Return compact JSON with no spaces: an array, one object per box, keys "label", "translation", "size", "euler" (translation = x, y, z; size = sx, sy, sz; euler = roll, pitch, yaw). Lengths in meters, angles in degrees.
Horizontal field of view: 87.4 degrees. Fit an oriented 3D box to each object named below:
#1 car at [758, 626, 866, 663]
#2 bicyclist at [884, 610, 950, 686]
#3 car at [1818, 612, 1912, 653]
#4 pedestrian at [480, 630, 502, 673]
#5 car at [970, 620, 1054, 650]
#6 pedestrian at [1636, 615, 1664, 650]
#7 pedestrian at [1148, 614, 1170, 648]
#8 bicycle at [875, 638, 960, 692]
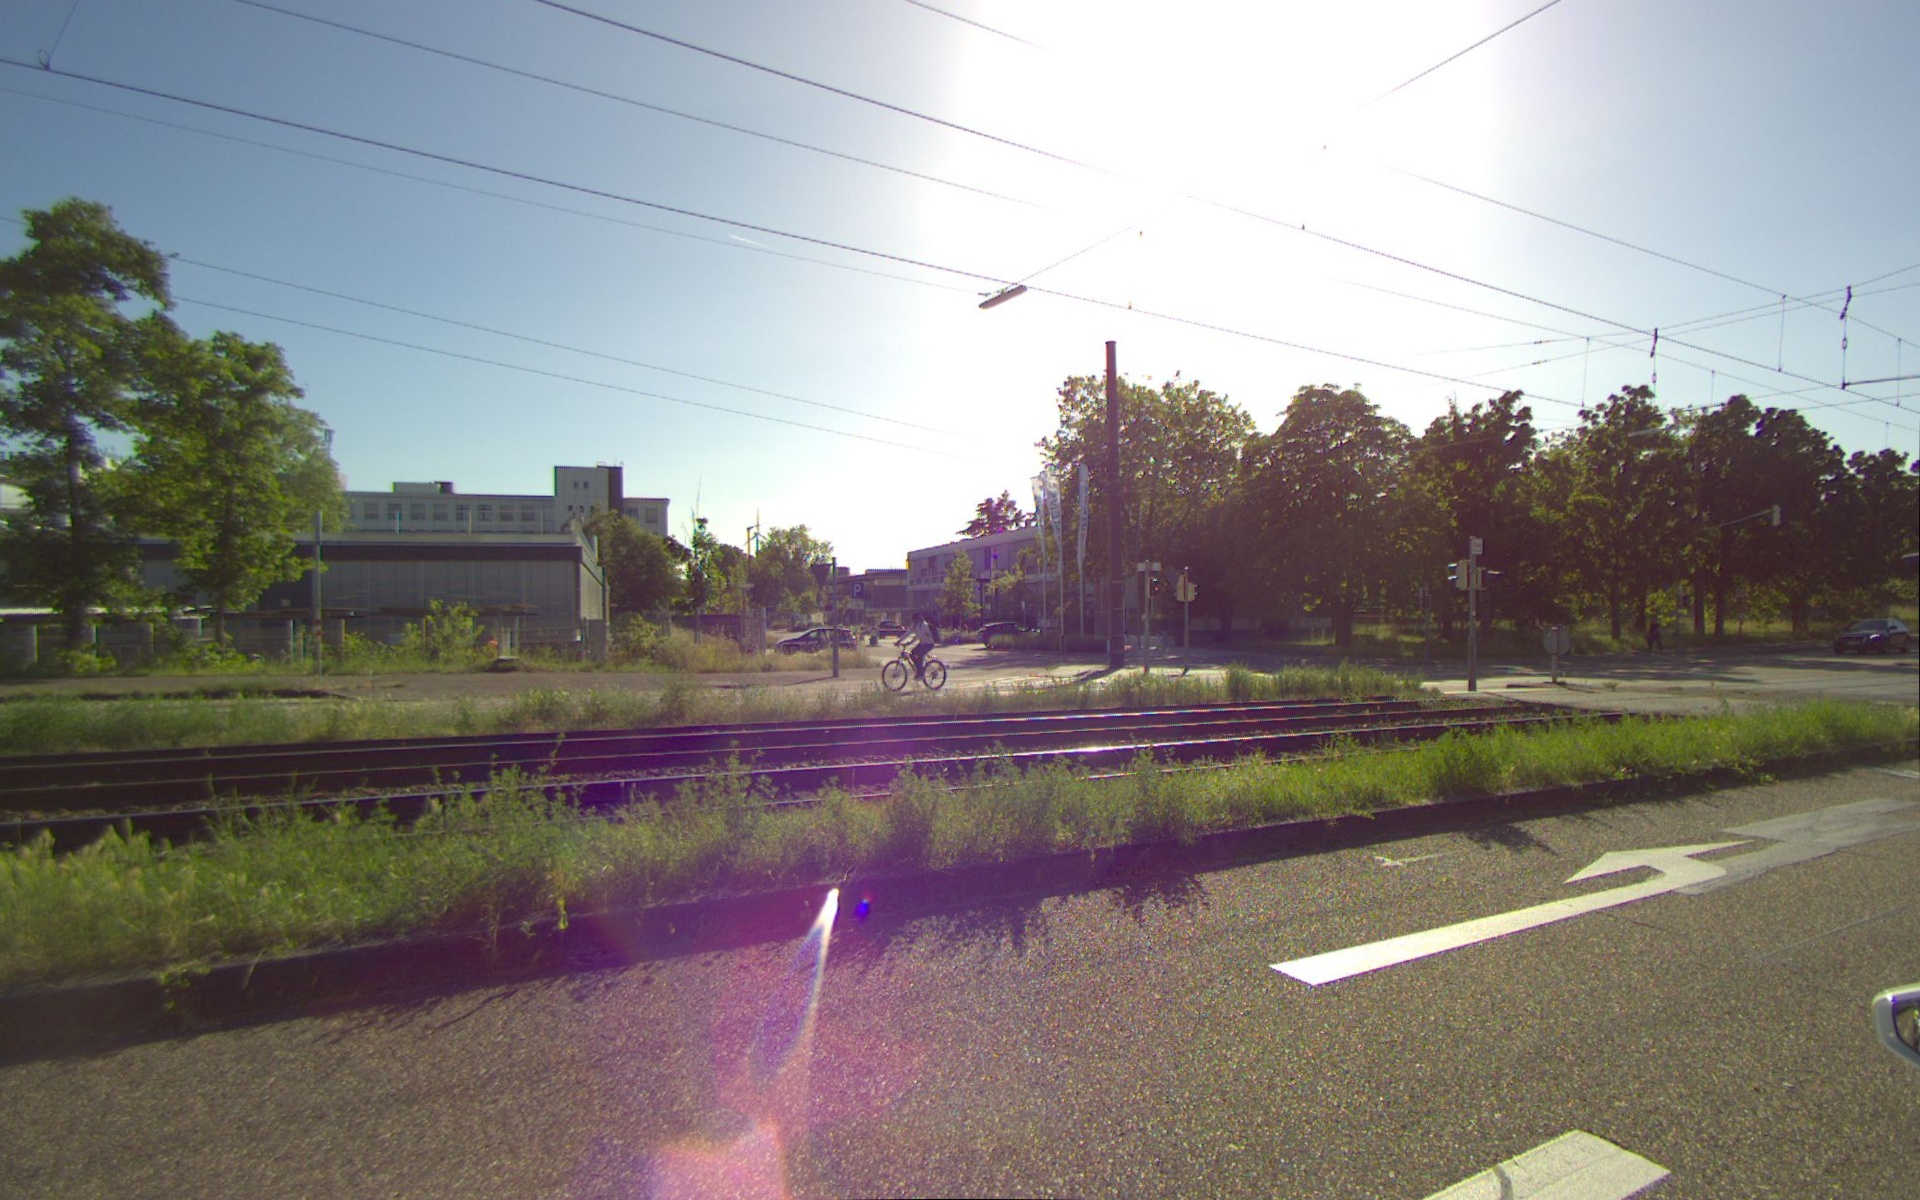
[{"label":"car","translation":[-7.673,2.270,51.918],"size":[5.210,1.772,2.164],"euler":[1,0,-19]},{"label":"bicyclist","translation":[-0.951,1.048,22.156],"size":[1.221,1.614,0.799],"euler":[1,0,-29]},{"label":"car","translation":[43.171,1.552,47.881],"size":[4.739,1.834,2.082],"euler":[0,-2,-32]},{"label":"pedestrian","translation":[-14.695,1.614,31.465],"size":[0.432,1.318,0.441],"euler":[0,0,18]},{"label":"car","translation":[3.206,2.154,61.712],"size":[4.768,1.751,2.041],"euler":[1,0,-21]},{"label":"pedestrian","translation":[34.749,1.631,50.596],"size":[0.919,1.757,0.761],"euler":[0,0,-2]},{"label":"pedestrian","translation":[10.591,1.627,53.511],"size":[0.807,1.811,0.950],"euler":[0,0,-16]},{"label":"bicycle","translation":[-0.936,1.419,22.170],"size":[1.760,1.117,0.693],"euler":[1,0,-30]}]
